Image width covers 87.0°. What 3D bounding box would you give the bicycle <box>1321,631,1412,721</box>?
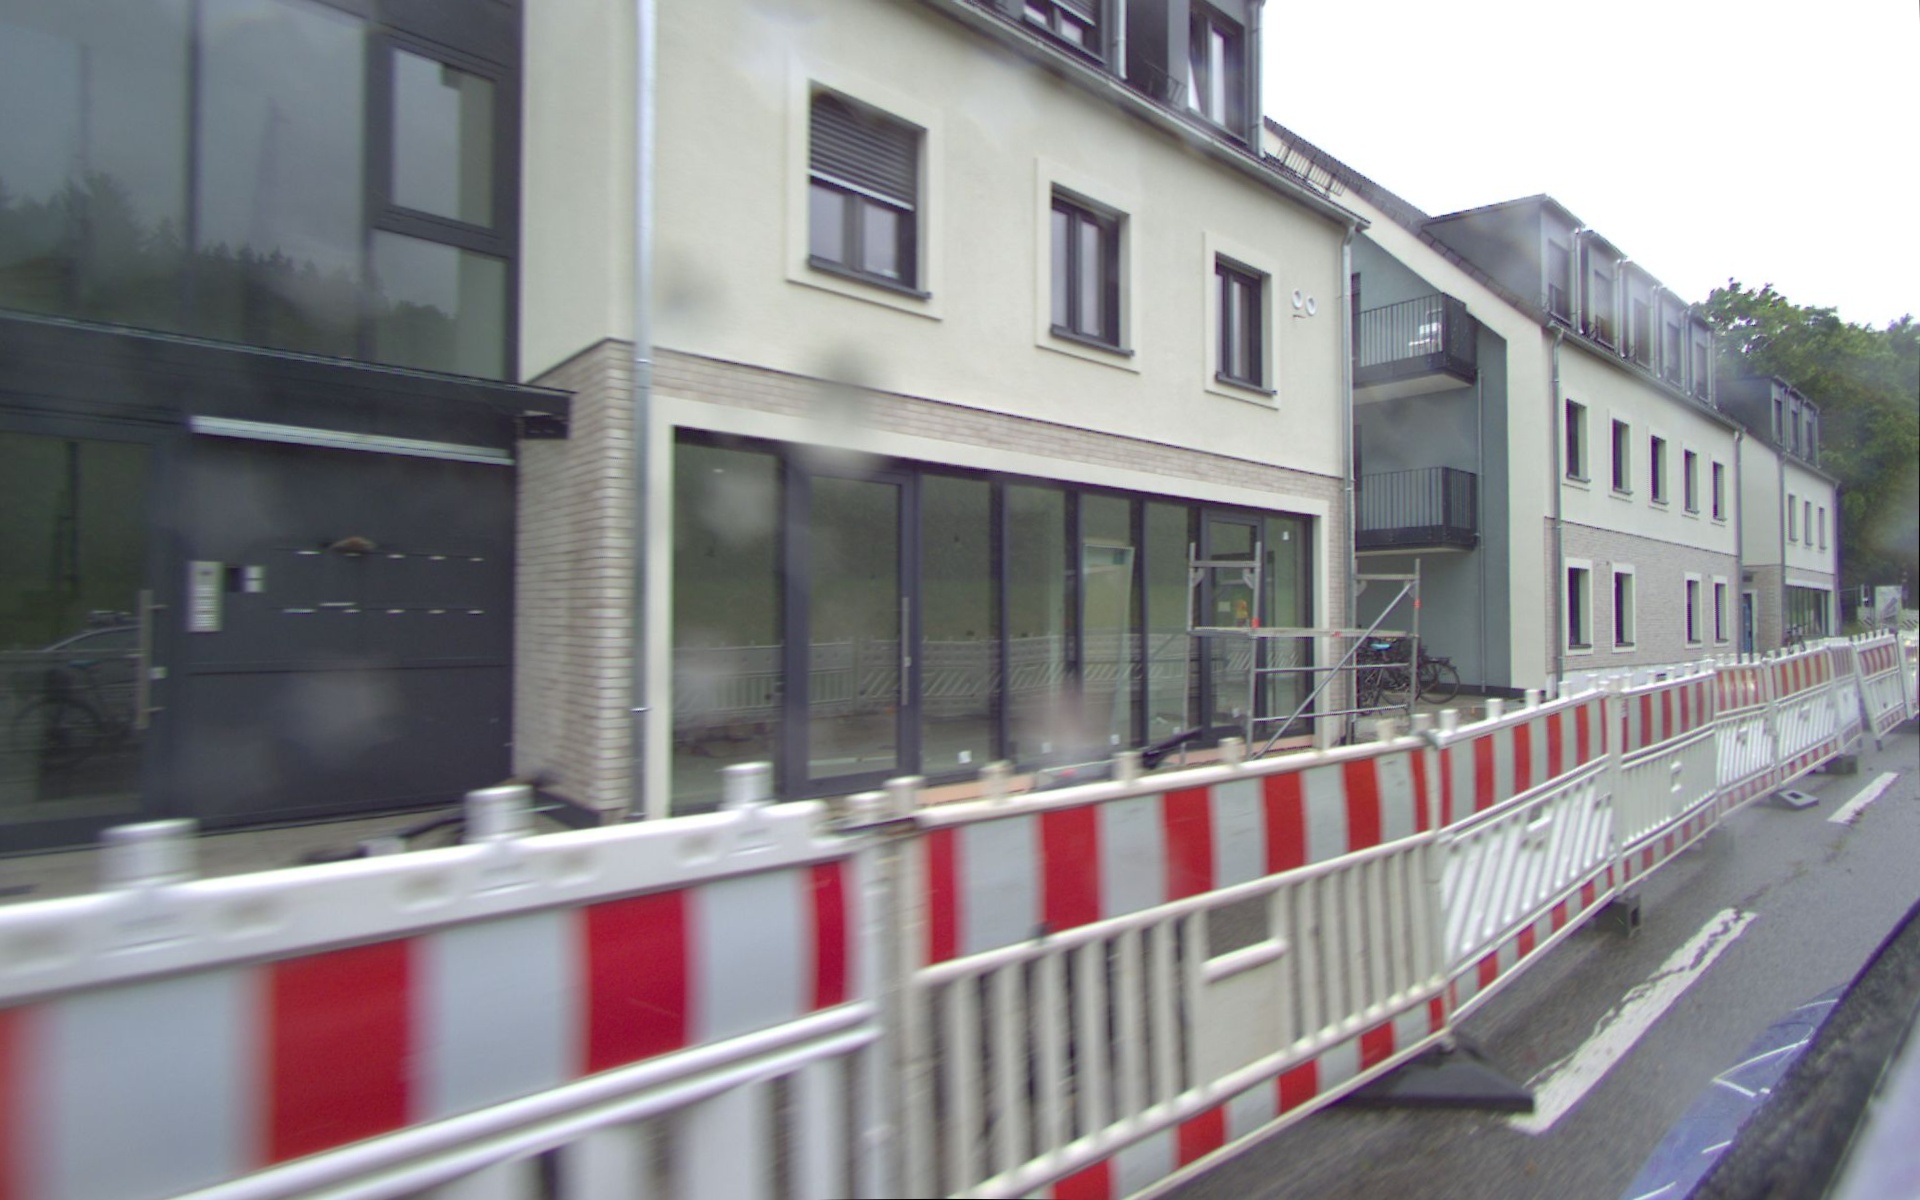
[{"bbox_3d":[5.383,0.971,13.350,1.627,1.066,0.488,0,0,-44],"label":"bicycle"}]

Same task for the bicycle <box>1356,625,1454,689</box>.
[{"bbox_3d":[7.833,0.999,17.853,1.504,1.091,0.489,0,0,-1],"label":"bicycle"}]

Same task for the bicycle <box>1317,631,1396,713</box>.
[{"bbox_3d":[5.781,1.018,14.721,1.508,1.066,0.488,0,0,-44],"label":"bicycle"}]

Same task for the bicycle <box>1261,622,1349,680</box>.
[{"bbox_3d":[6.617,0.977,19.428,1.504,1.091,0.489,0,0,-1],"label":"bicycle"}]

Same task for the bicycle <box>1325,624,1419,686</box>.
[{"bbox_3d":[7.467,0.992,18.365,1.504,1.091,0.489,0,0,-1],"label":"bicycle"}]

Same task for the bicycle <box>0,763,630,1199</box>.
[{"bbox_3d":[-1.158,0.917,1.518,1.199,1.158,0.407,0,0,-40],"label":"bicycle"}]

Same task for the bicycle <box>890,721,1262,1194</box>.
[{"bbox_3d":[0.394,0.958,3.071,1.199,1.042,0.407,0,0,-40],"label":"bicycle"}]

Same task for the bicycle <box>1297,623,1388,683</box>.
[{"bbox_3d":[7.136,0.985,18.897,1.504,1.091,0.489,0,0,-1],"label":"bicycle"}]

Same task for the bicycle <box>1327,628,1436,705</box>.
[{"bbox_3d":[6.497,1.002,15.643,0.442,1.066,1.532,0,0,-39],"label":"bicycle"}]

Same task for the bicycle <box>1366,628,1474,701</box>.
[{"bbox_3d":[7.261,1.003,16.004,1.522,1.066,0.445,0,0,32],"label":"bicycle"}]
